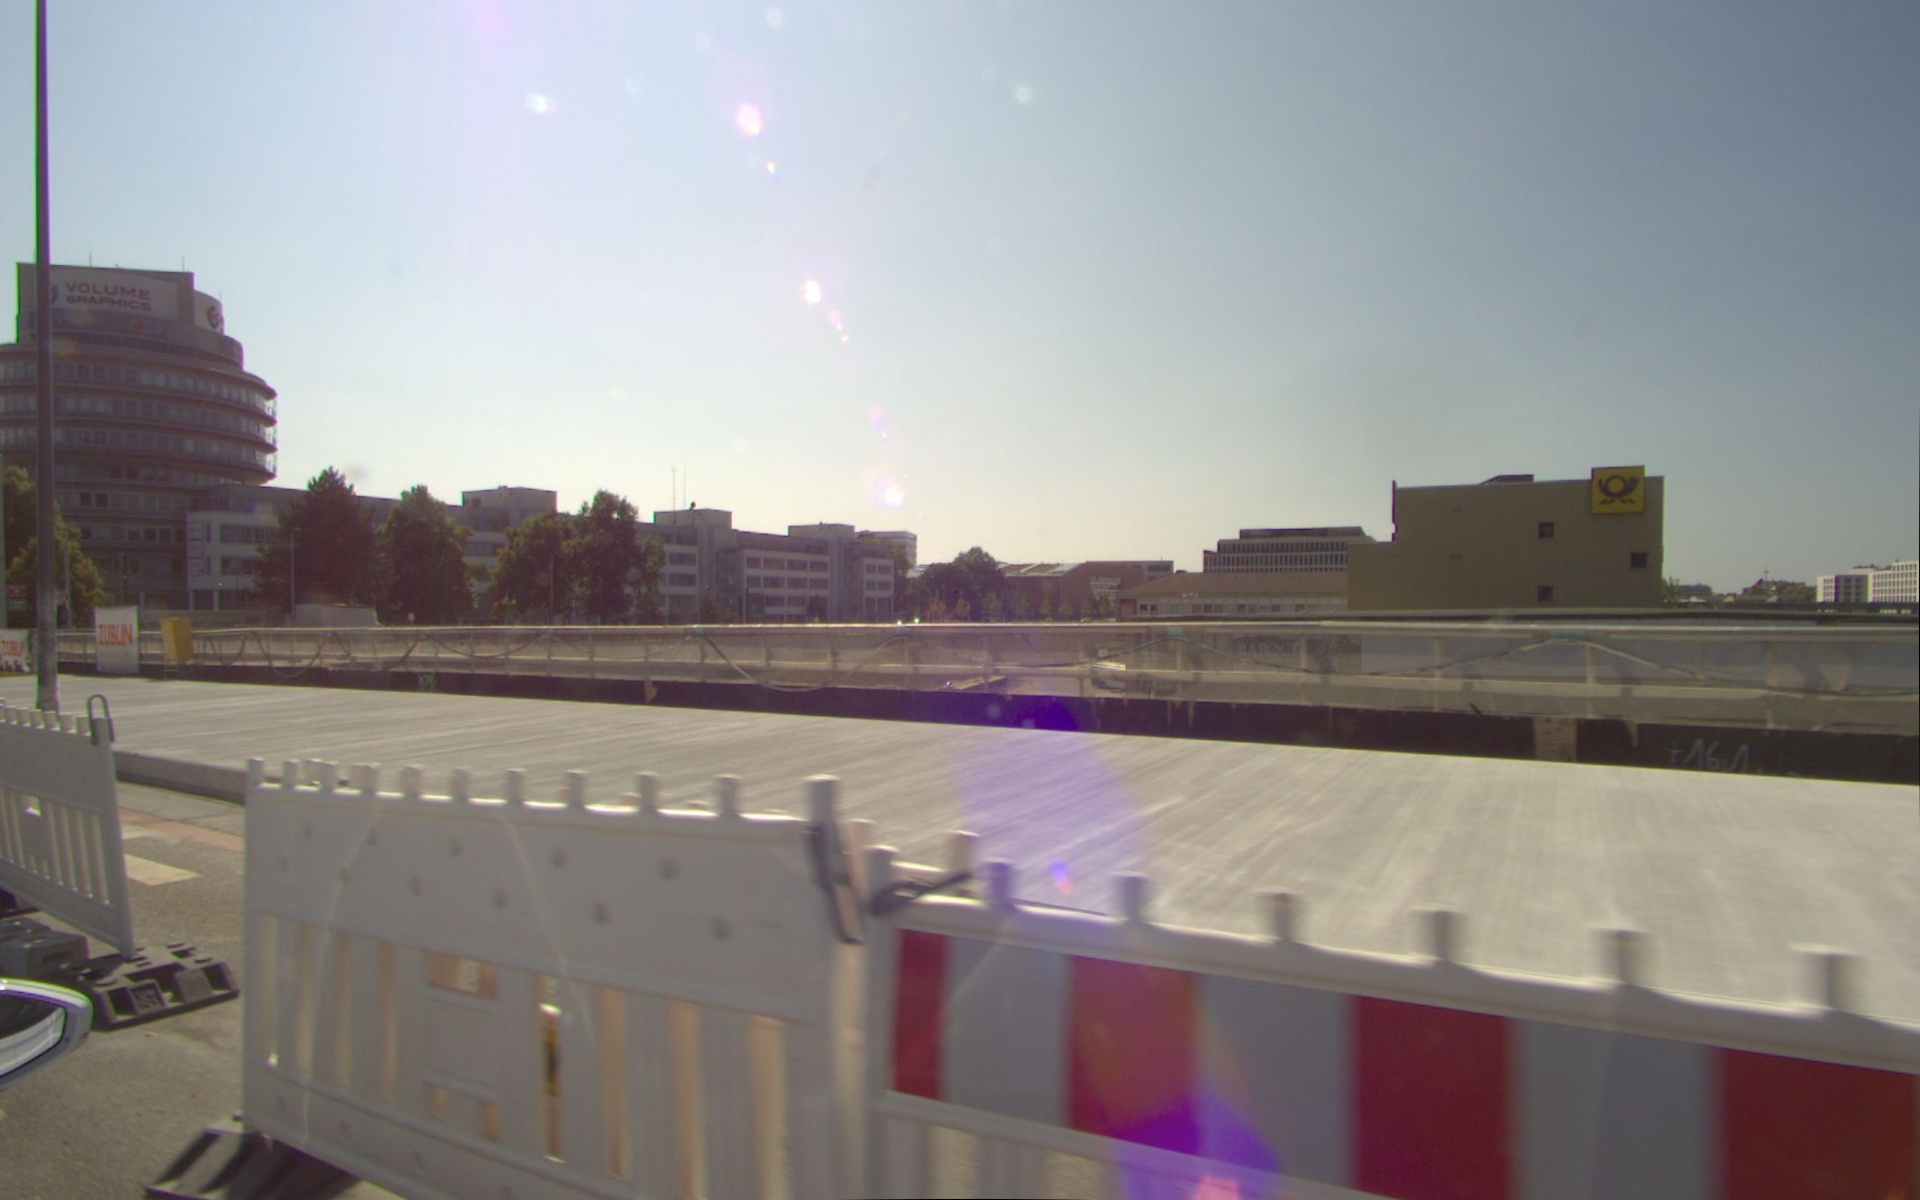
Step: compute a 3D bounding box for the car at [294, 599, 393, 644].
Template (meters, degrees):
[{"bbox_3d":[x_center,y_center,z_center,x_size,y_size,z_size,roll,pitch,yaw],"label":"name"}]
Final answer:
[{"bbox_3d":[-42.959,1.519,70.003,2.303,2.924,5.966,1,-1,14],"label":"car"}]
